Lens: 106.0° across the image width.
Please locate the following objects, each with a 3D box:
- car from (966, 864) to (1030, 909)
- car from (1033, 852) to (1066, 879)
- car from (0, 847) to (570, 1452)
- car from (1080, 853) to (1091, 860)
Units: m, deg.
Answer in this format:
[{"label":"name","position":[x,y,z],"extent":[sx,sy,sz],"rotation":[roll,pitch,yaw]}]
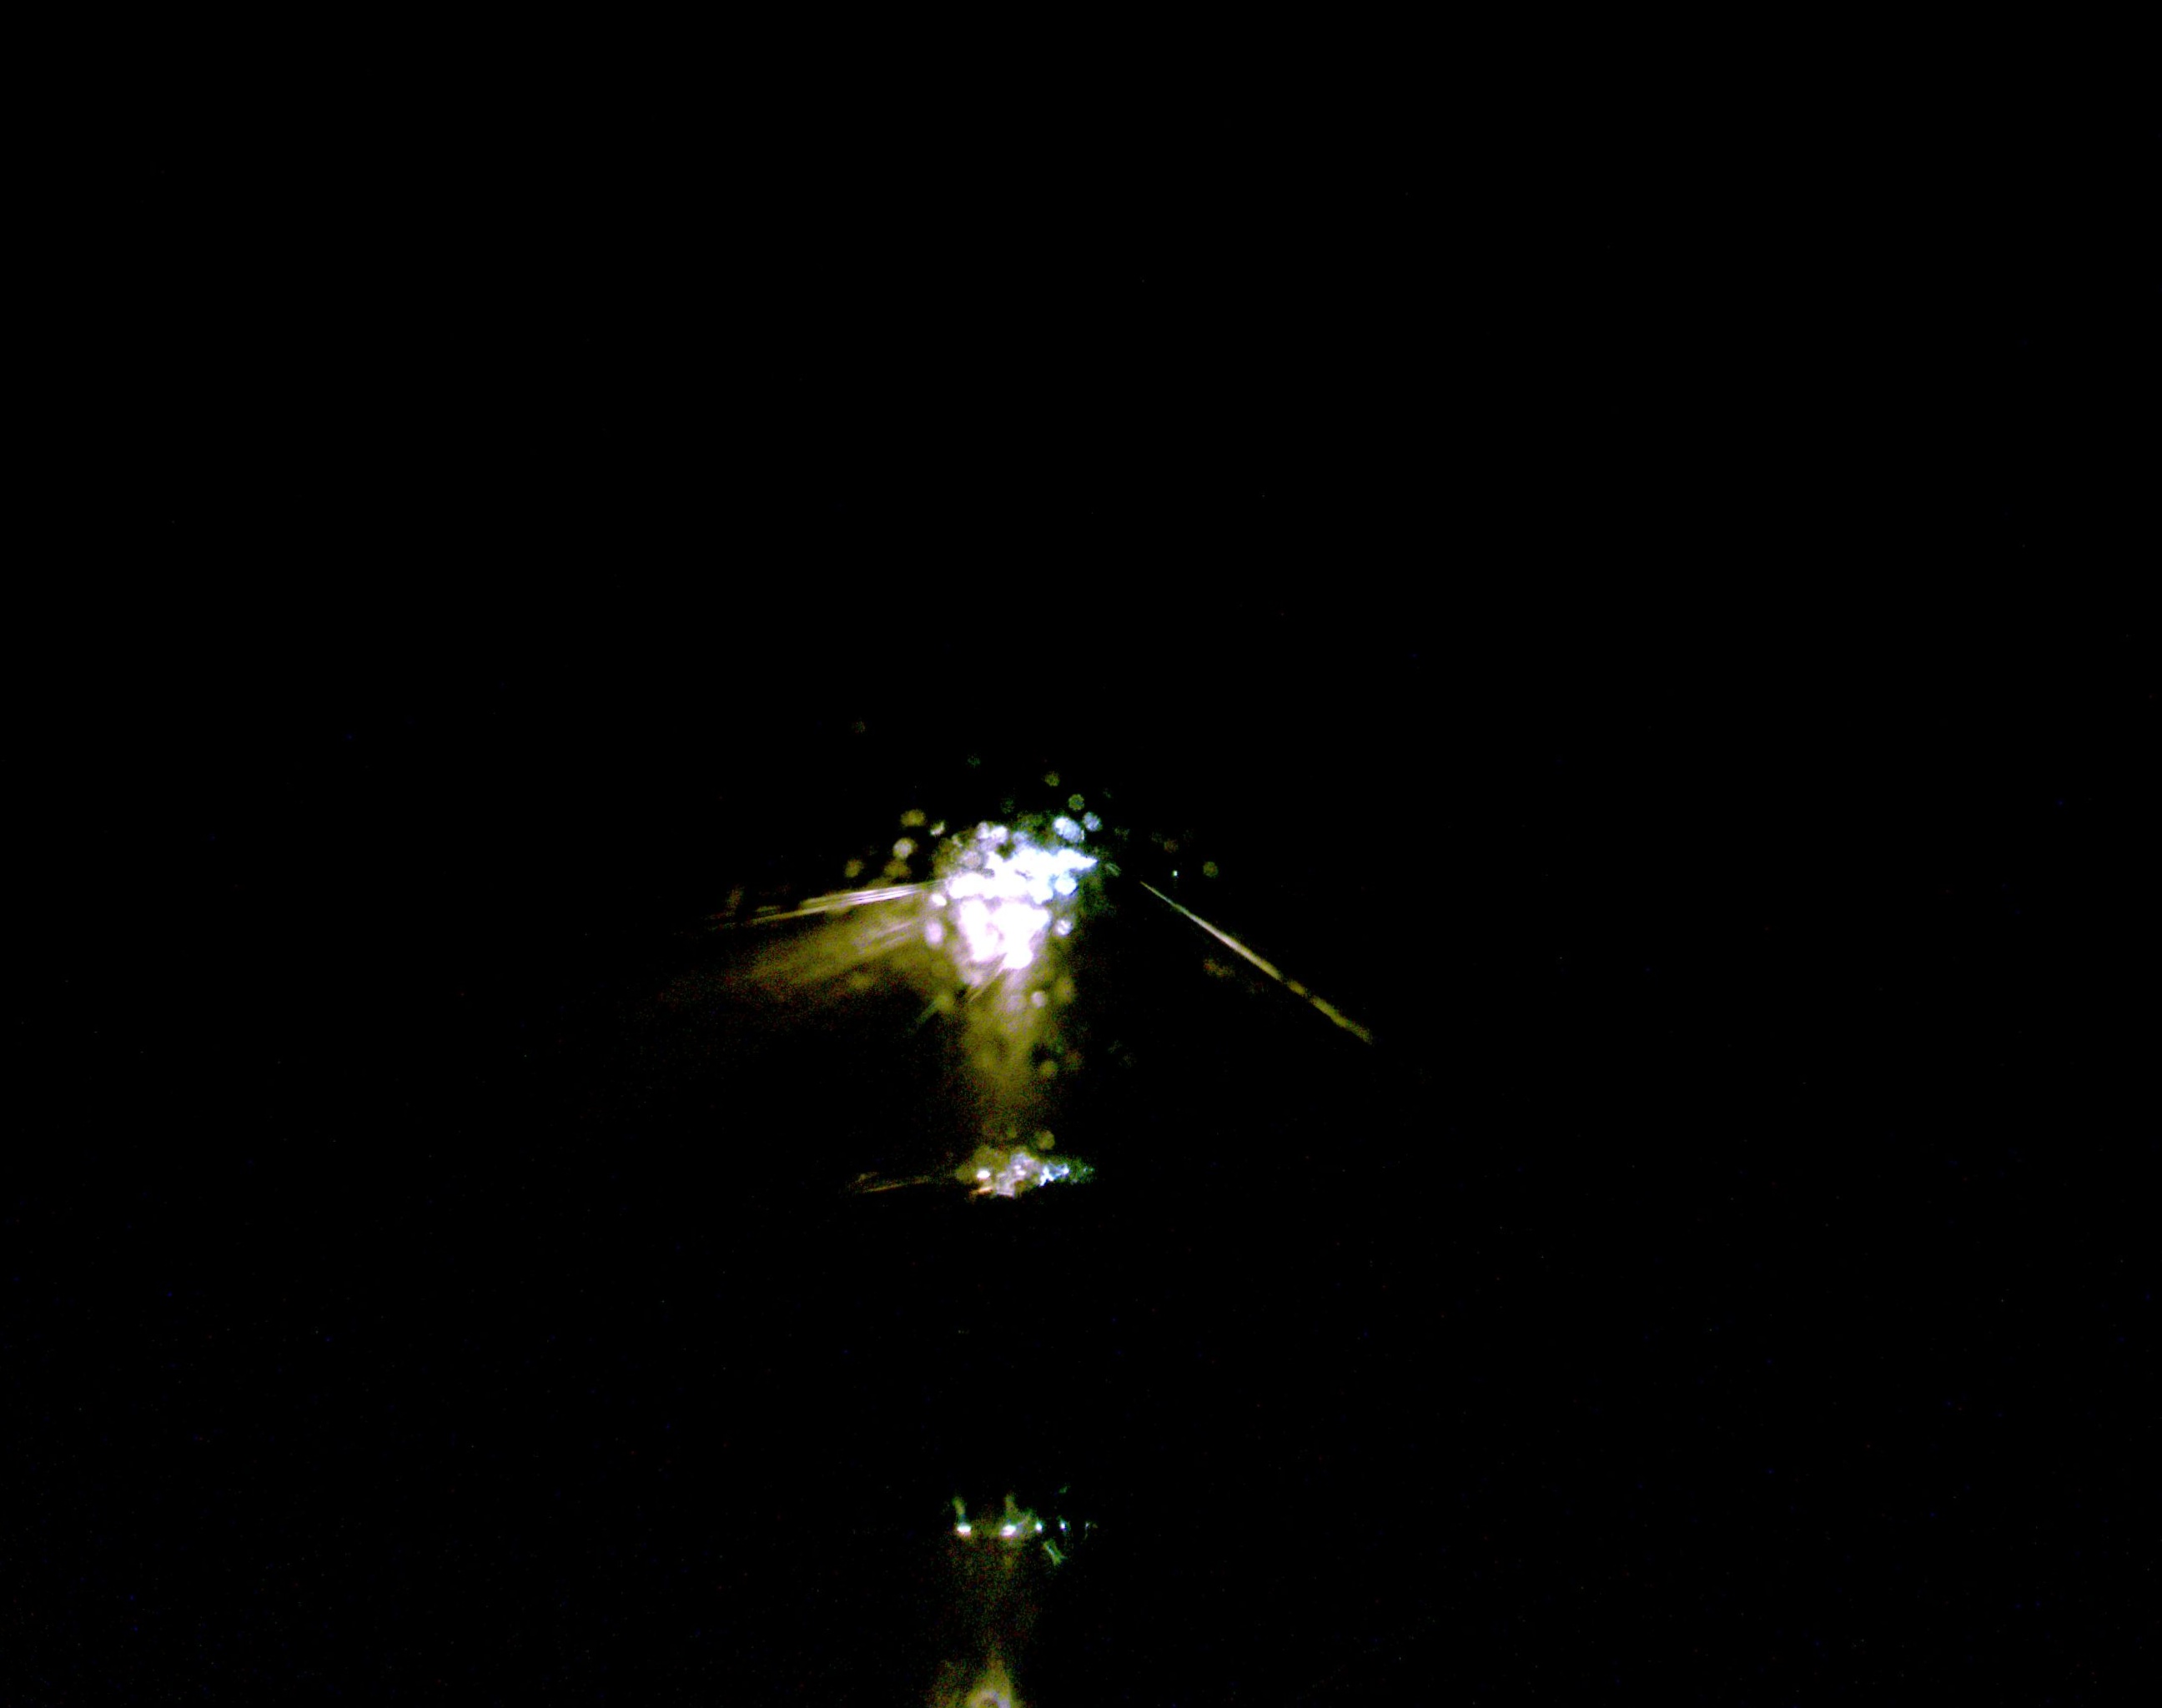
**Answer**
[{"label":"car","position":[-2.991,1.147,30.115],"extent":[1.837,1.480,4.249],"rotation":[0,0,1]},{"label":"car","position":[-2.108,0.810,56.444],"extent":[1.986,1.793,4.248],"rotation":[0,0,2]},{"label":"car","position":[-3.626,0.725,2.143],"extent":[1.986,1.475,3.926],"rotation":[0,0,2]},{"label":"car","position":[0.894,0.498,162.520],"extent":[1.986,1.448,4.430],"rotation":[0,0,1]}]
